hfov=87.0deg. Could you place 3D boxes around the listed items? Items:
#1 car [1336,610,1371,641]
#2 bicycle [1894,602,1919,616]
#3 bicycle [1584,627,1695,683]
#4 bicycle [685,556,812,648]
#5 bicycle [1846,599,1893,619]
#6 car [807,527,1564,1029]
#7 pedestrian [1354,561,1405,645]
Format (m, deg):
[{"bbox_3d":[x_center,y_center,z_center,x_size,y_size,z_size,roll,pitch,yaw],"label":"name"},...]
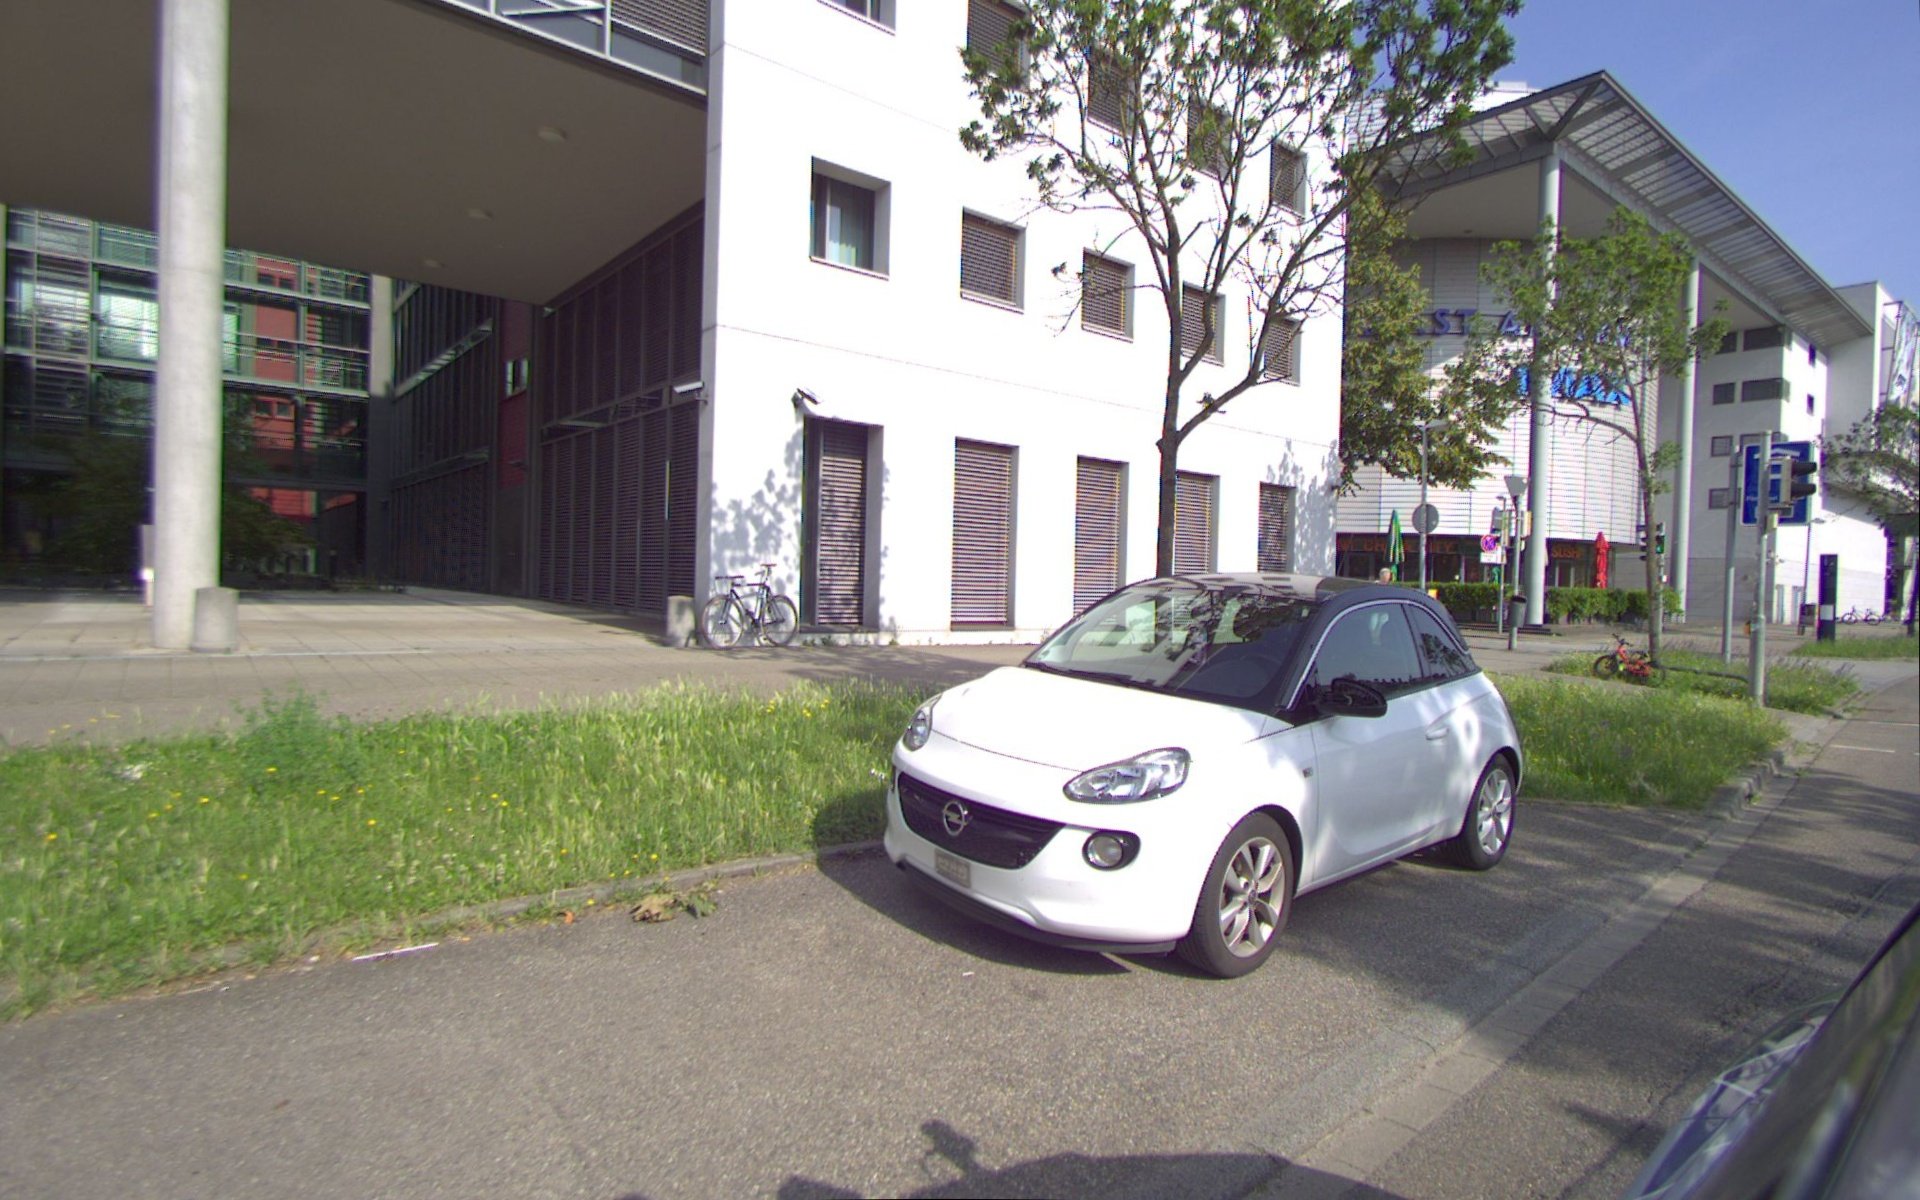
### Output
[{"bbox_3d":[8.255,0.538,21.260,0.490,0.595,0.766,2,2,8],"label":"car"},{"bbox_3d":[66.521,0.651,70.769,0.474,0.926,1.662,1,2,-38],"label":"bicycle"},{"bbox_3d":[10.497,0.836,15.676,0.511,0.639,1.278,1,7,-31],"label":"bicycle"},{"bbox_3d":[-2.690,0.024,12.949,1.523,1.099,0.494,0,3,-42],"label":"bicycle"},{"bbox_3d":[55.455,0.532,61.744,0.662,1.116,2.016,1,1,-34],"label":"bicycle"},{"bbox_3d":[1.311,0.544,4.969,3.714,1.538,1.724,1,1,-41],"label":"car"},{"bbox_3d":[8.465,0.046,20.446,0.701,1.636,0.778,2,1,8],"label":"pedestrian"}]
